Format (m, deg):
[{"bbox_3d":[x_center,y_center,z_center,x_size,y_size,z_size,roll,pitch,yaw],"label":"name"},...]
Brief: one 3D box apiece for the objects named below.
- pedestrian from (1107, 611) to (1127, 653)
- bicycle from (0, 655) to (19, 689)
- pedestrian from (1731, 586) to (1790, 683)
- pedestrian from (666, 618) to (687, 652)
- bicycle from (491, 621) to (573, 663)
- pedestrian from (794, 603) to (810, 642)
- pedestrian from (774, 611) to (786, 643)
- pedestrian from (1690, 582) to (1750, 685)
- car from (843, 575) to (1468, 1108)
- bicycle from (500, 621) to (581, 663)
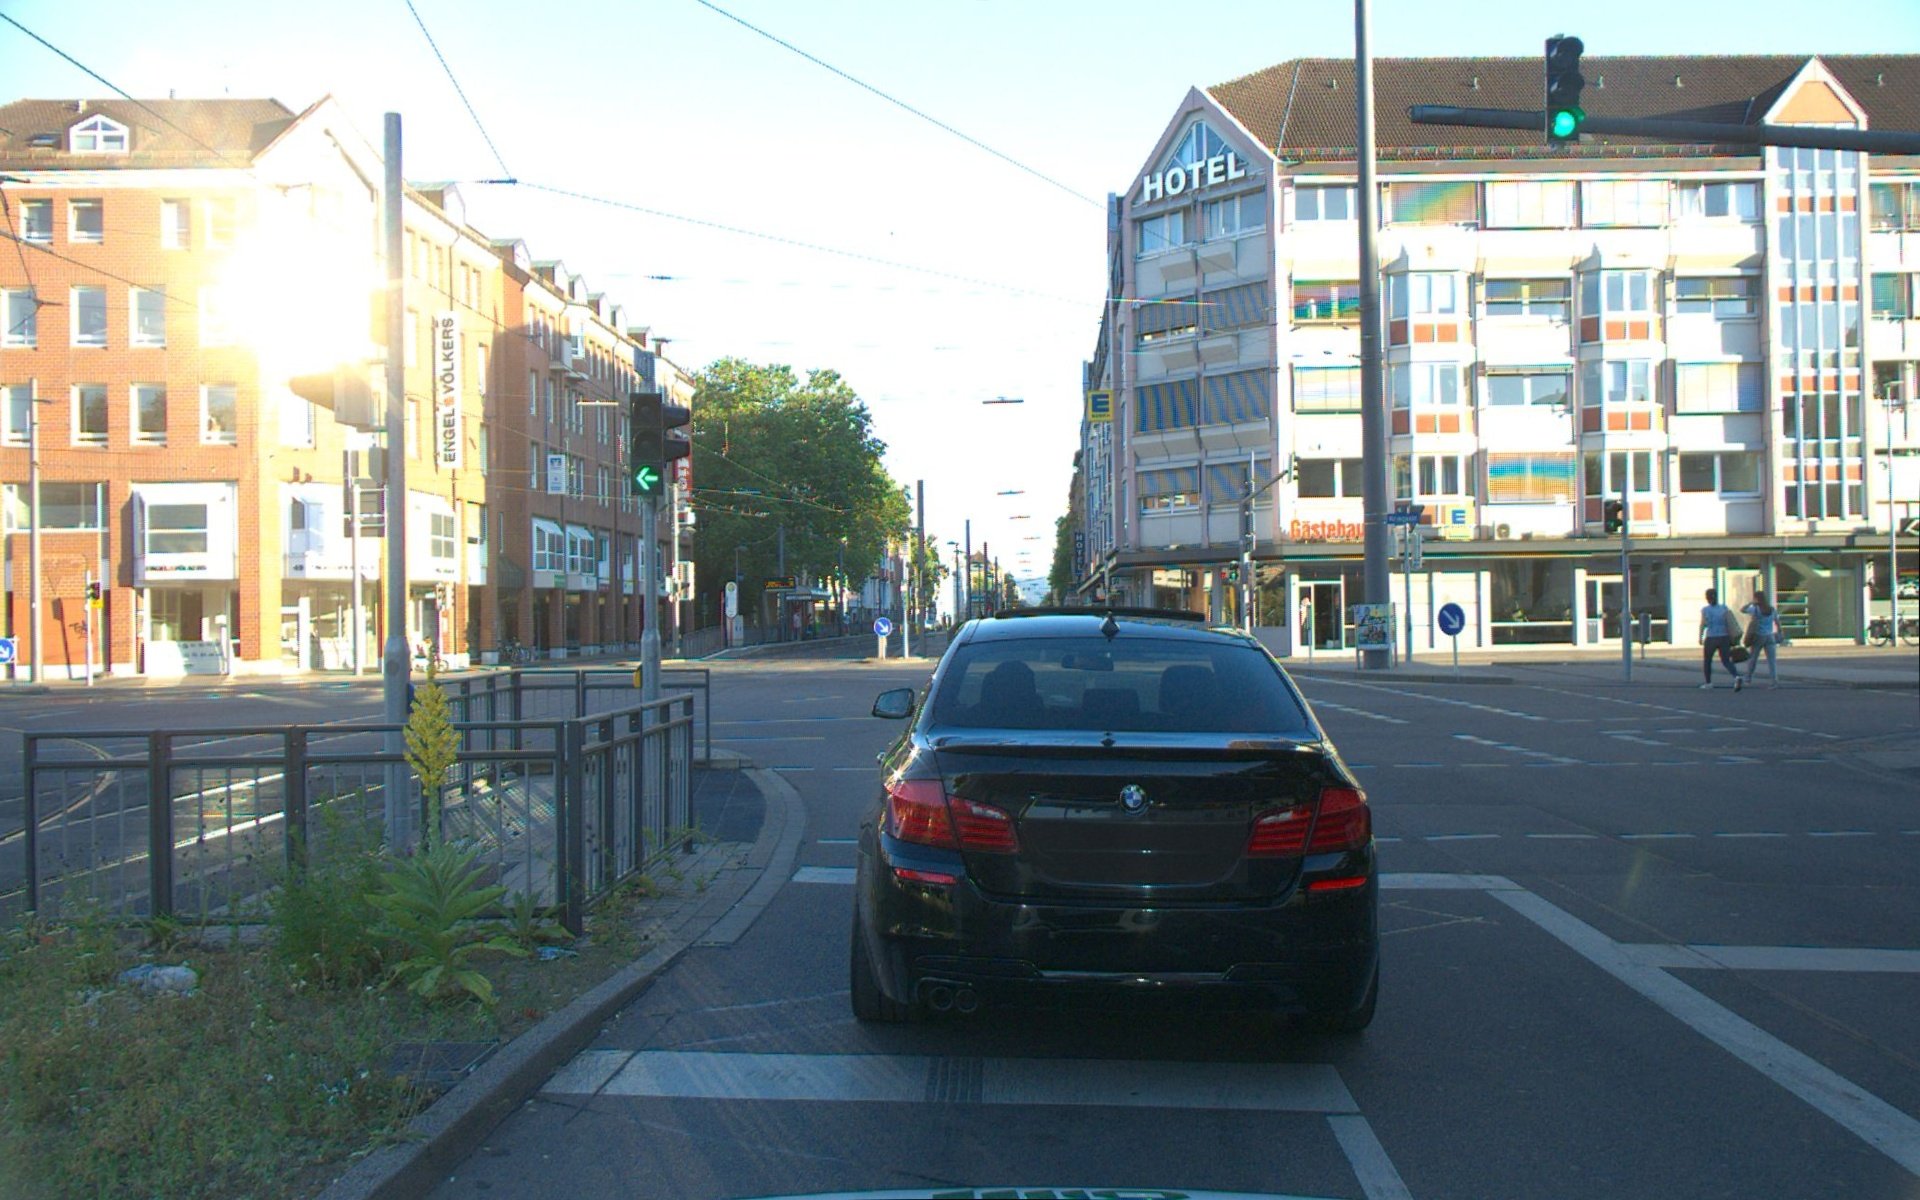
[{"bbox_3d":[6.084,1.224,64.106,0.691,1.575,0.907,0,2,-1],"label":"pedestrian"},{"bbox_3d":[-31.320,2.291,51.861,2.996,1.035,0.930,-1,-1,-7],"label":"bicycle"},{"bbox_3d":[13.478,0.572,27.846,0.692,1.610,0.822,-2,-1,38],"label":"pedestrian"},{"bbox_3d":[-17.291,2.116,100.922,1.063,2.049,1.084,-1,-1,-2],"label":"pedestrian"},{"bbox_3d":[-18.378,1.798,71.077,3.228,1.756,1.069,-1,-1,2],"label":"bicycle"},{"bbox_3d":[-8.462,1.197,88.591,0.792,2.049,0.678,-1,-1,-1],"label":"pedestrian"},{"bbox_3d":[-9.663,1.458,88.830,0.573,1.686,0.678,-1,-1,-1],"label":"pedestrian"},{"bbox_3d":[12.627,0.548,27.481,0.713,1.678,0.768,-2,-1,38],"label":"pedestrian"},{"bbox_3d":[0.537,0.725,6.964,1.804,1.521,4.291,1,-1,-1],"label":"car"},{"bbox_3d":[-18.317,1.836,72.245,3.229,1.756,1.069,-1,-1,1],"label":"bicycle"}]
